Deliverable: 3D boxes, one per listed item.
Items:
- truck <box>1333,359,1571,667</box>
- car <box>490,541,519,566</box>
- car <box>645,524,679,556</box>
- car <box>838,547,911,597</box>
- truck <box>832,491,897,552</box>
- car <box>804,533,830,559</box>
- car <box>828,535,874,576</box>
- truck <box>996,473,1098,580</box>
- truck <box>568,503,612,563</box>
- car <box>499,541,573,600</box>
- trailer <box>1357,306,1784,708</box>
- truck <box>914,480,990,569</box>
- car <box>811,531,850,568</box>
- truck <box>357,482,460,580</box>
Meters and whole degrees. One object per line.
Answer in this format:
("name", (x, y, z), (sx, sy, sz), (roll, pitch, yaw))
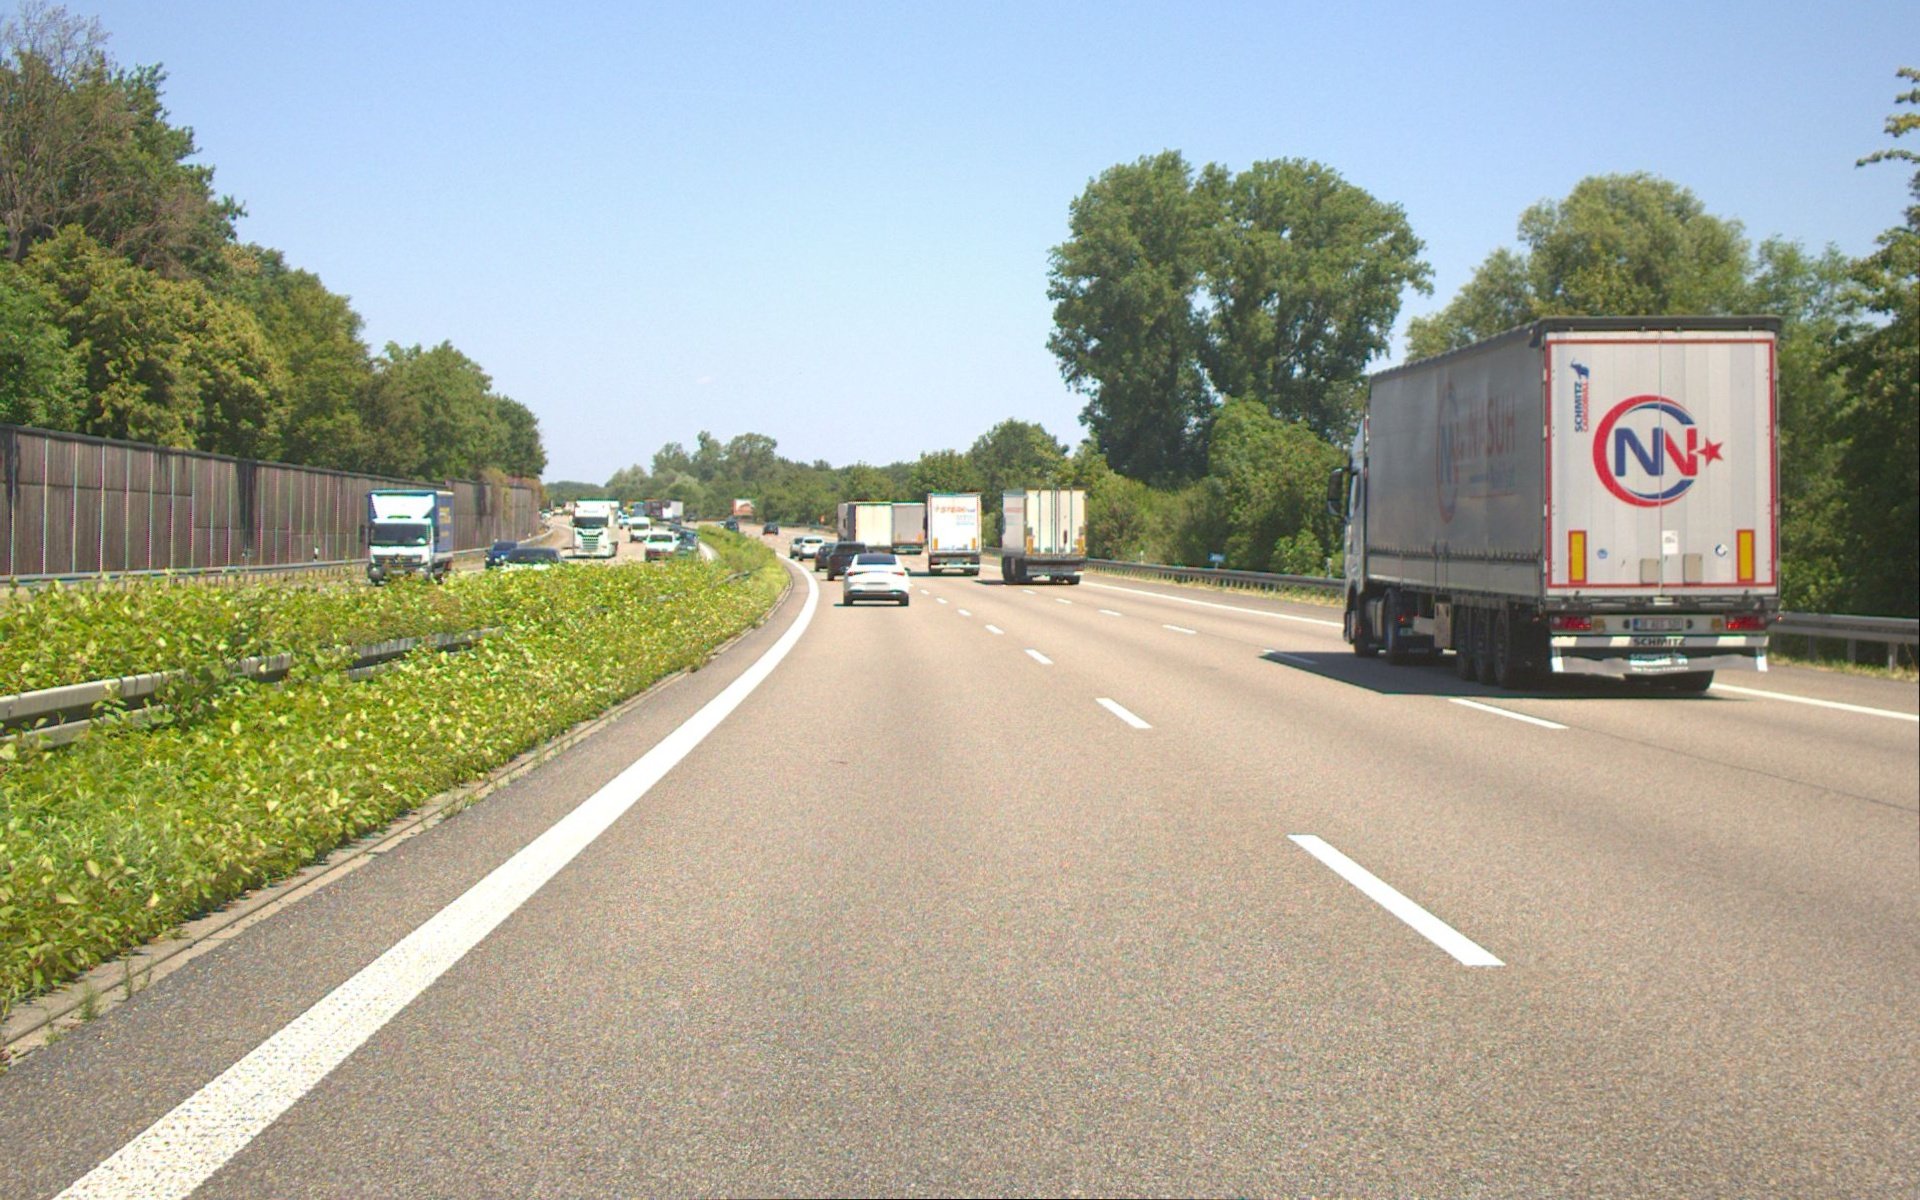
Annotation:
("truck", (7.166, -1.256, 50.741), (2.605, 4.272, 5.436), (1, 1, -1))
("car", (-23.375, -2.387, 176.477), (1.279, 1.251, 3.029), (0, 1, -3))
("car", (-18.700, -3.764, 215.875), (1.926, 1.939, 4.610), (0, 1, -2))
("car", (-2.369, -0.799, 96.263), (1.715, 1.365, 3.374), (1, 1, 4))
("truck", (-7.016, -5.685, 250.011), (3.579, 4.296, 12.193), (0, 1, -7))
("car", (-9.821, -3.709, 235.269), (1.723, 1.777, 4.001), (0, 1, -3))
("car", (-4.886, -2.003, 153.358), (1.993, 1.766, 4.001), (0, 1, -3))
("truck", (3.553, -3.045, 143.943), (3.492, 4.296, 10.990), (1, 1, -2))
("truck", (-25.993, -4.688, 241.605), (2.730, 4.178, 6.037), (1, 1, -3))
("car", (-11.704, -0.842, 95.094), (1.583, 1.583, 4.000), (1, 1, 0))
("trailer", (7.306, -1.092, 43.595), (2.624, 4.246, 14.062), (1, 1, -1))
("truck", (-0.445, -3.757, 172.461), (3.359, 4.296, 10.830), (1, 1, -2))
("car", (-7.009, -2.735, 185.818), (1.993, 2.007, 4.001), (0, 1, -3))
("truck", (-20.972, -2.611, 131.132), (2.833, 3.597, 8.746), (0, 1, -2))
